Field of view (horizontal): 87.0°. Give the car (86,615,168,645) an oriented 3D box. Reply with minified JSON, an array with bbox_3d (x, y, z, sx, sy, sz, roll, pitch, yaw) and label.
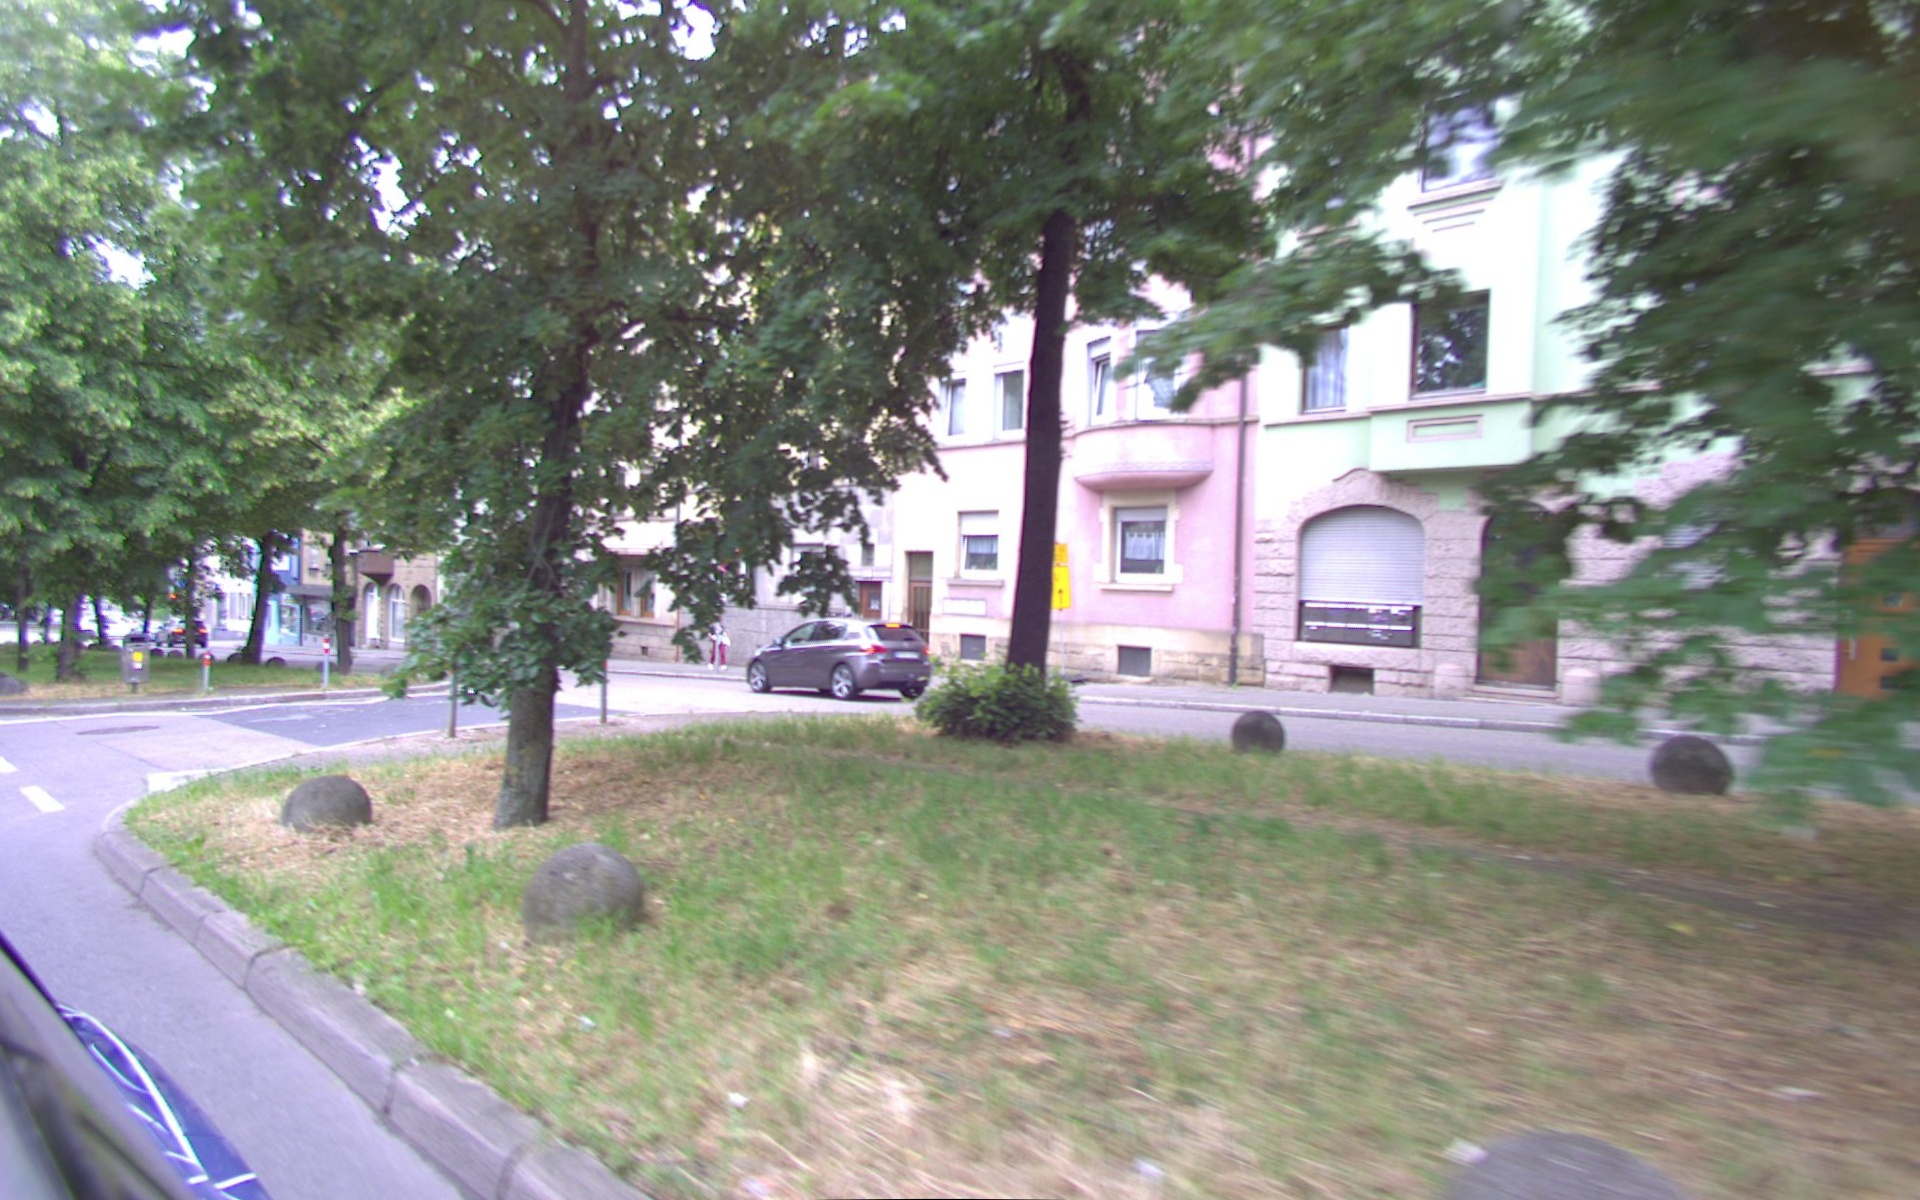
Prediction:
[{"bbox_3d":[-60.424,2.170,73.488,4.196,2.029,2.006,0,1,-18],"label":"car"}]

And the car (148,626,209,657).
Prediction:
[{"bbox_3d":[-45.420,2.390,58.766,4.675,1.649,1.797,0,-2,40],"label":"car"}]

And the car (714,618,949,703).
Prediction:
[{"bbox_3d":[-2.491,1.098,18.758,4.667,1.393,1.690,-3,-3,42],"label":"car"}]

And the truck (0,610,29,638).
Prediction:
[{"bbox_3d":[-96.853,2.407,100.368,2.739,2.744,6.442,-1,-2,7],"label":"truck"}]

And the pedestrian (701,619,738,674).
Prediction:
[{"bbox_3d":[-6.702,1.285,28.215,0.704,1.471,0.691,-2,-1,42],"label":"pedestrian"}]

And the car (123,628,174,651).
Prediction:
[{"bbox_3d":[-51.317,2.467,63.970,4.289,1.417,1.653,-2,-2,39],"label":"car"}]
